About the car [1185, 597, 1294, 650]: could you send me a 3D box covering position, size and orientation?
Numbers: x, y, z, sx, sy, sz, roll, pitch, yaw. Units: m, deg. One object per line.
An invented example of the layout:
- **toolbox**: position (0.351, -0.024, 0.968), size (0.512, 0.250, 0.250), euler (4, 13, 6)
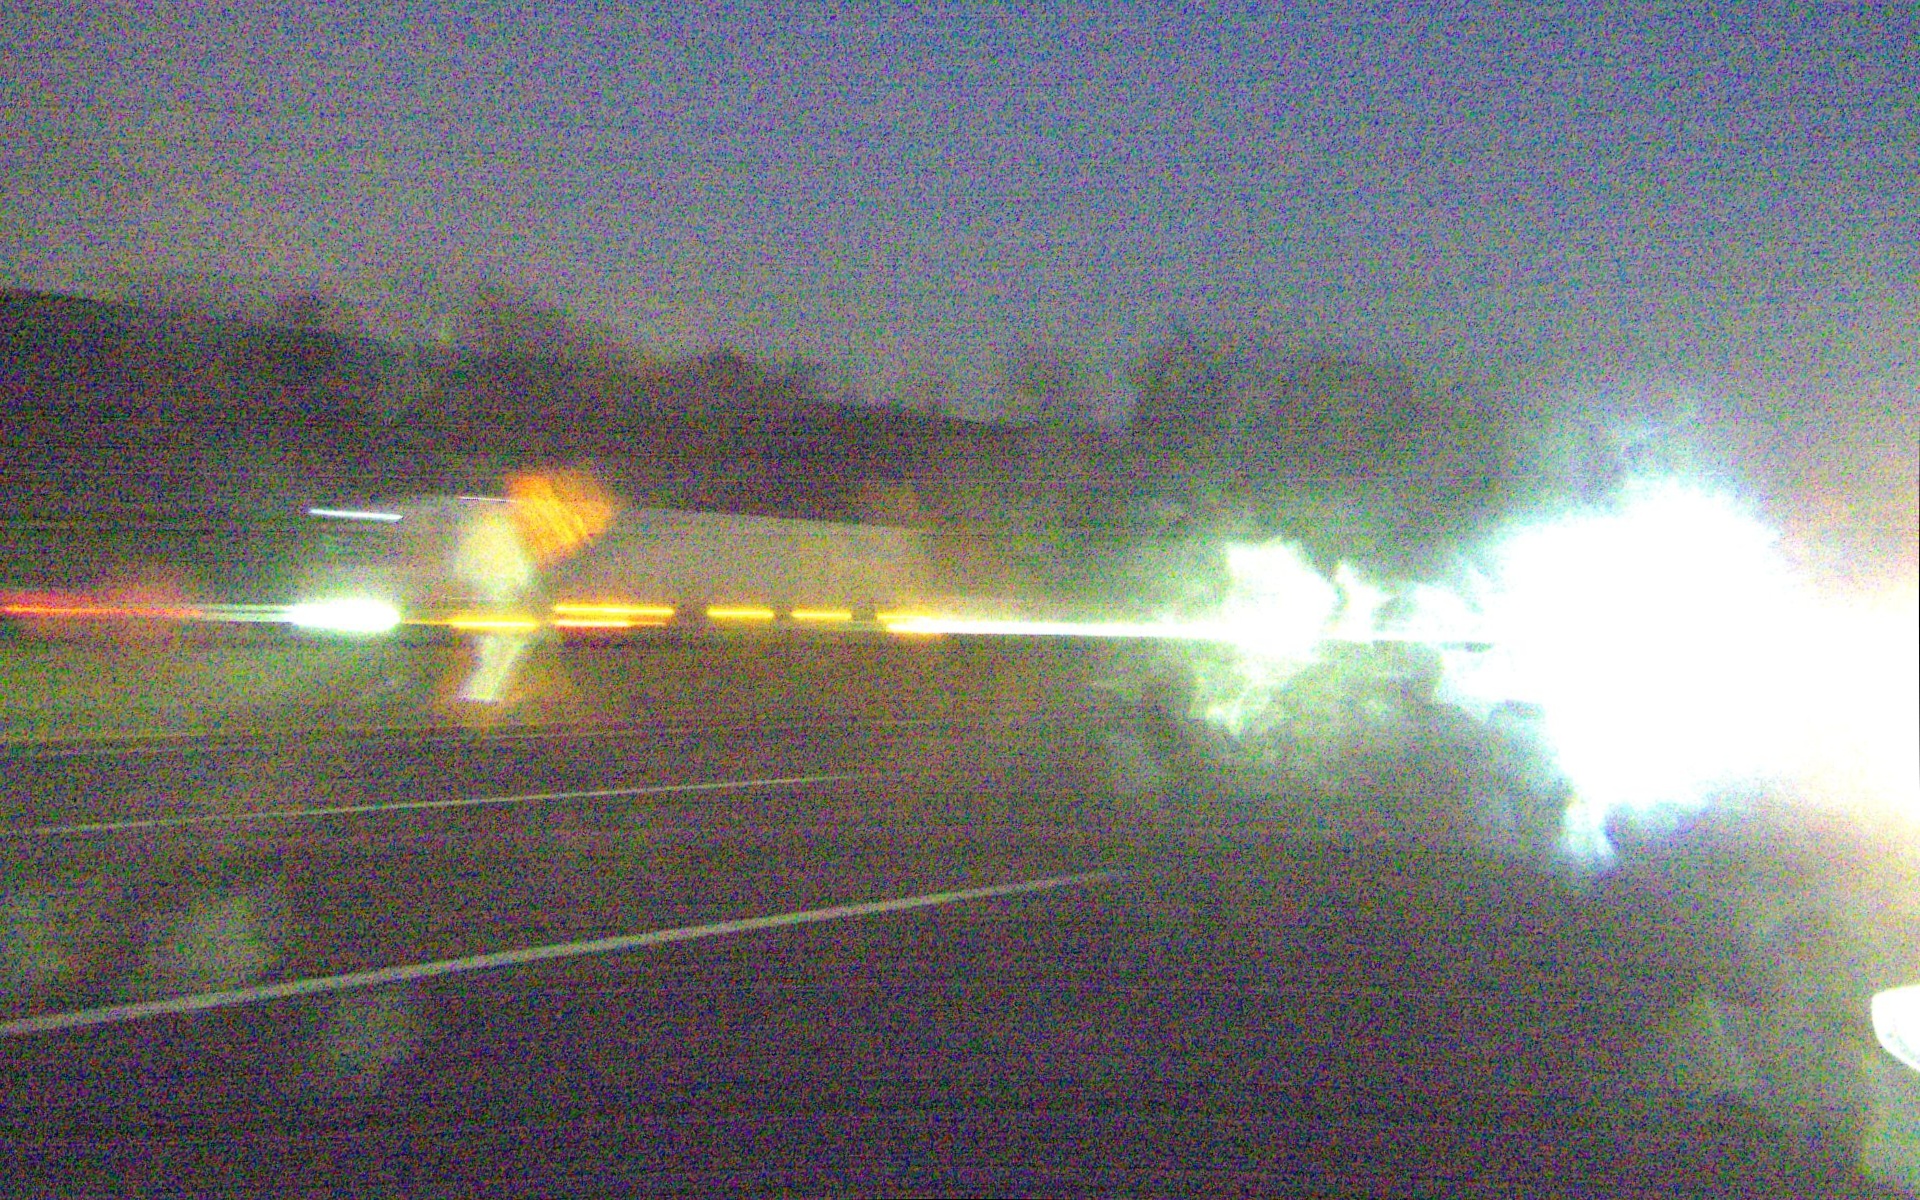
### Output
- **car**: position (11.974, 1.021, 42.955), size (4.355, 2.041, 1.983), euler (2, 2, -31)

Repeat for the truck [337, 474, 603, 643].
- **truck**: position (-13.423, -1.029, 27.725), size (6.195, 4.145, 2.714), euler (2, 2, -31)

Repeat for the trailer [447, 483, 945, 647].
- **trailer**: position (-7.593, -0.803, 31.221), size (14.690, 4.145, 2.714), euler (2, 2, -31)

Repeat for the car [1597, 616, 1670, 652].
- **car**: position (41.753, 2.107, 62.261), size (4.355, 2.041, 1.983), euler (2, 2, -31)

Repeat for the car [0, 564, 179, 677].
- **car**: position (-16.056, 0.318, 17.199), size (3.953, 1.781, 1.984), euler (2, 2, -30)

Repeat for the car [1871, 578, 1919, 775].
- **car**: position (12.335, 0.870, 11.131), size (4.960, 2.040, 1.983), euler (2, -1, -31)
